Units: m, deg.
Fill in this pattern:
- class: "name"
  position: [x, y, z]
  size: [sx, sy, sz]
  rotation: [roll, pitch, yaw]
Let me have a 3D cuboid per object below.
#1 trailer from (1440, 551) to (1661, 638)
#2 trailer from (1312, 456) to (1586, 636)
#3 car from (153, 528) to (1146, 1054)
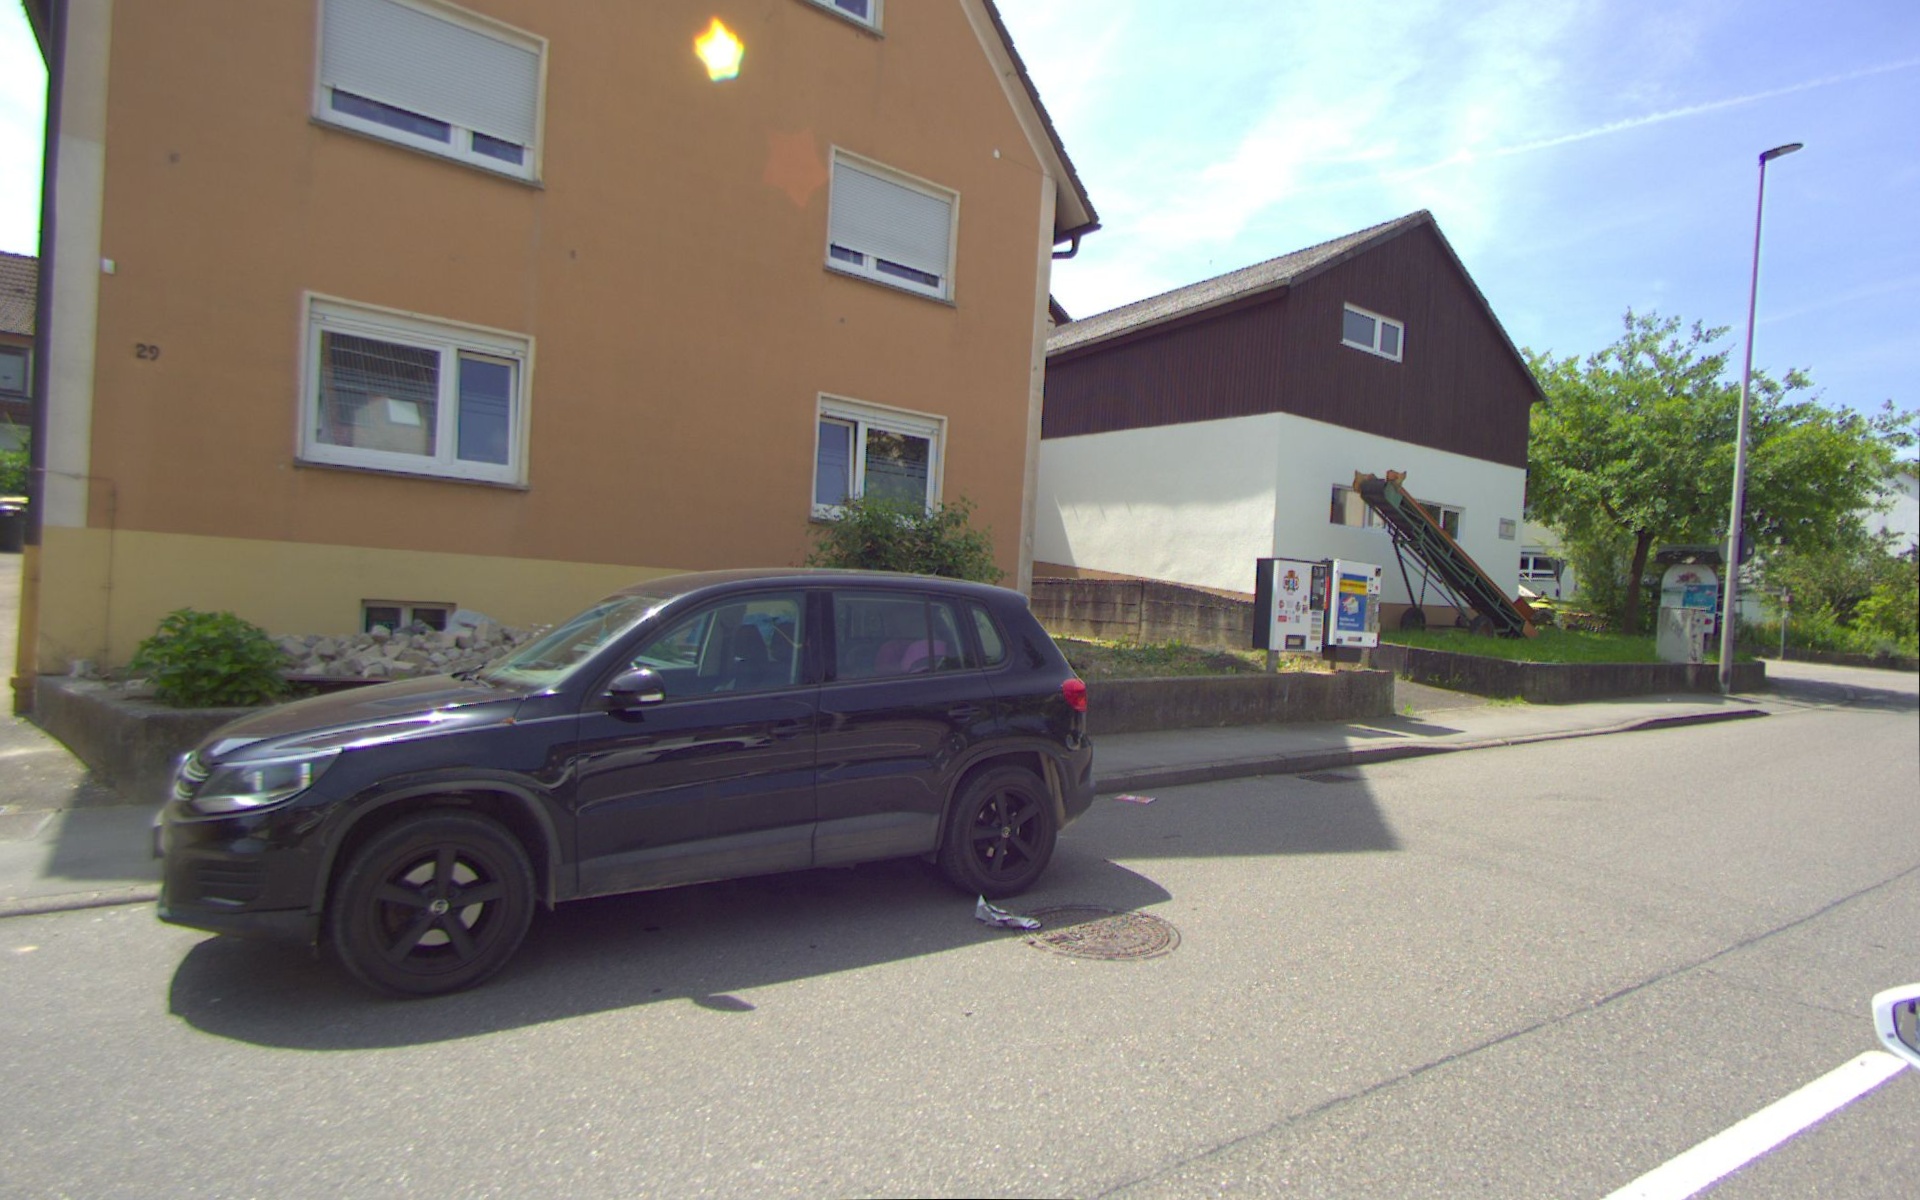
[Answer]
- class: "trailer"
  position: [13.609, -0.202, 23.474]
  size: [2.713, 1.714, 3.703]
  rotation: [3, 3, -6]
- class: "trailer"
  position: [9.229, -0.840, 18.672]
  size: [6.111, 2.887, 1.701]
  rotation: [1, 1, -35]
- class: "car"
  position: [-1.233, 0.635, 5.080]
  size: [4.242, 1.658, 1.758]
  rotation: [1, 0, -34]
